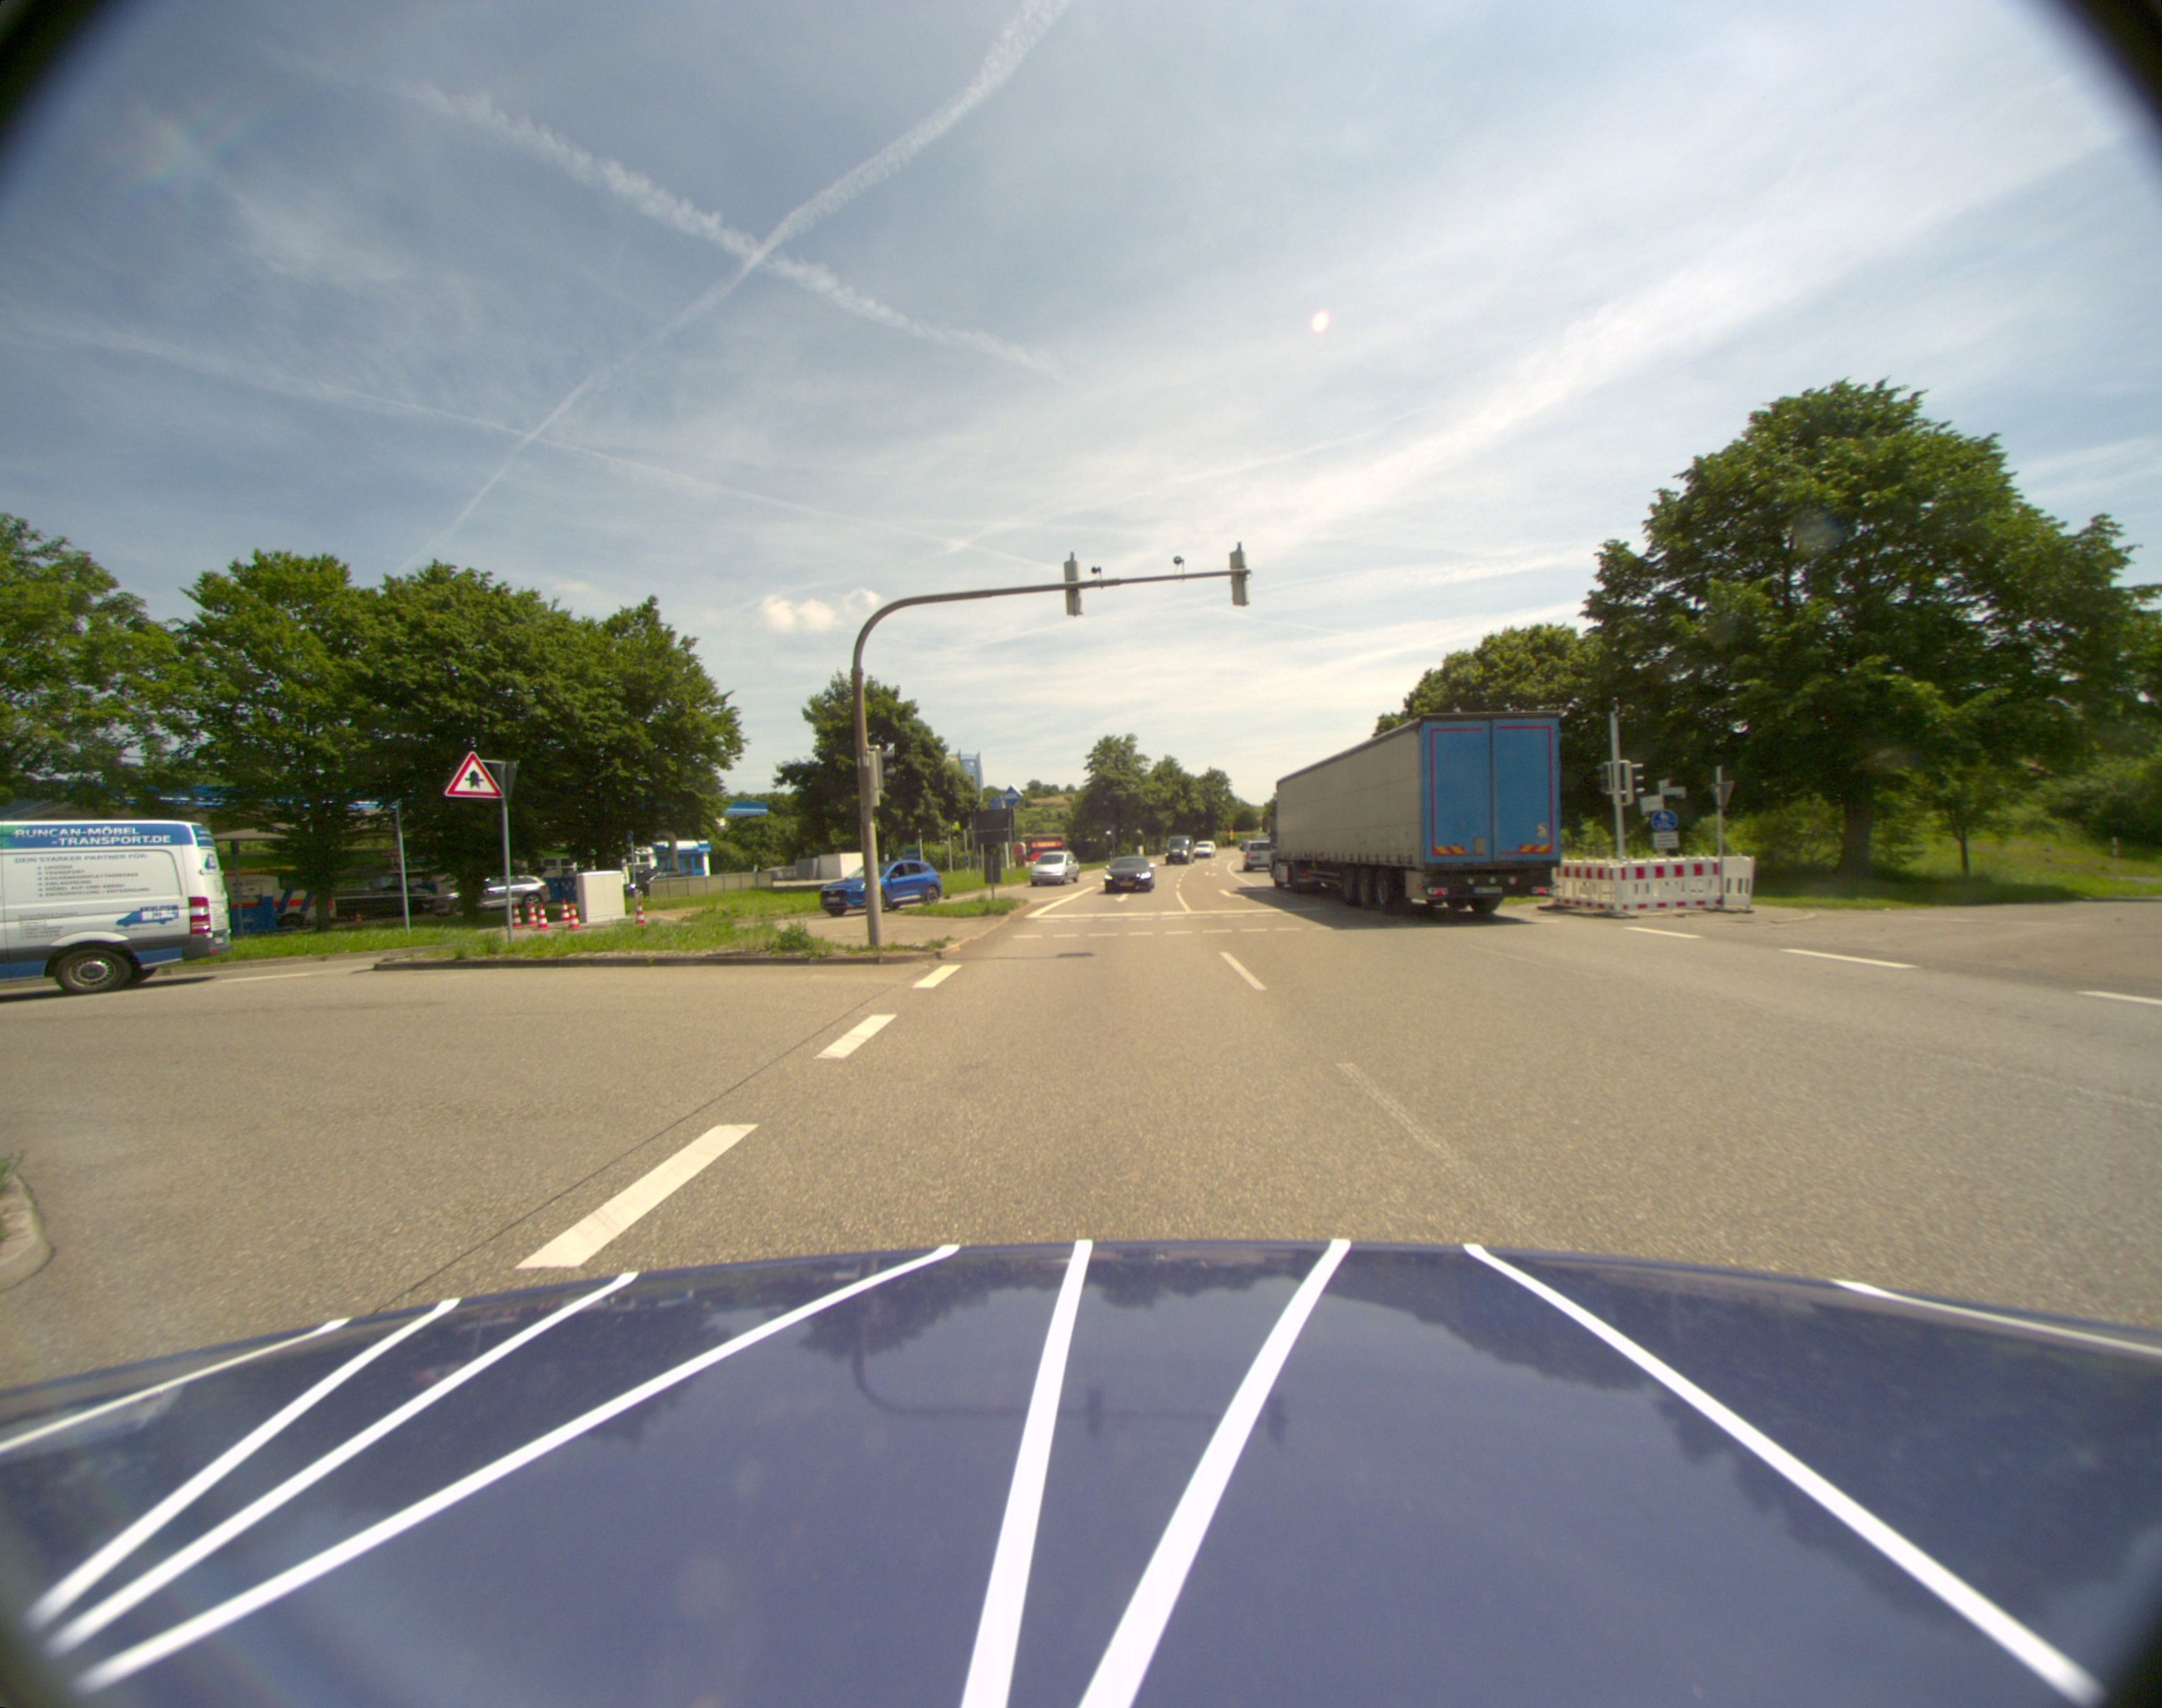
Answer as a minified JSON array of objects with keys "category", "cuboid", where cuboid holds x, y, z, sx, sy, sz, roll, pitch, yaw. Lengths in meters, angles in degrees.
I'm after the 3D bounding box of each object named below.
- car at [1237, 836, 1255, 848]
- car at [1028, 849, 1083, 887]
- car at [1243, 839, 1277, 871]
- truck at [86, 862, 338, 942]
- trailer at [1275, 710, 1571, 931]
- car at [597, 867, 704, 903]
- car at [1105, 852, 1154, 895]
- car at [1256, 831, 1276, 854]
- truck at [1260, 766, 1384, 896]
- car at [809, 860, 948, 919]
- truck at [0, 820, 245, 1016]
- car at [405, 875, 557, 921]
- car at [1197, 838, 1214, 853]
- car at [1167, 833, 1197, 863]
[{"category":"car","cuboid":[24.814,-1.783,114.189,1.806,1.722,4.006,-2,0,24]},{"category":"car","cuboid":[-1.253,0.676,39.678,1.864,1.682,4.529,-2,2,11]},{"category":"car","cuboid":[11.271,0.009,48.087,1.874,1.875,4.955,-1,1,10]},{"category":"truck","cuboid":[-34.366,1.794,30.349,2.257,2.603,6.159,-2,1,30]},{"category":"trailer","cuboid":[8.014,-0.700,20.754,2.572,4.007,13.595,-1,1,3]},{"category":"car","cuboid":[-23.330,1.642,41.359,1.995,1.612,4.637,-1,2,31]},{"category":"car","cuboid":[1.898,0.732,30.603,1.783,1.484,4.158,-2,1,3]},{"category":"car","cuboid":[19.845,-1.217,81.406,2.054,2.438,5.274,-1,1,14]},{"category":"truck","cuboid":[8.370,-0.763,27.210,2.572,4.007,6.560,-1,1,3]},{"category":"car","cuboid":[-6.400,1.093,24.554,1.780,1.549,4.395,-2,1,27]},{"category":"truck","cuboid":[-16.489,0.980,10.784,5.954,2.721,2.068,-3,-1,-43]},{"category":"car","cuboid":[-27.154,1.918,34.608,2.033,1.594,4.948,-1,2,31]},{"category":"car","cuboid":[13.752,-0.941,84.135,1.782,1.484,4.159,-2,2,8]},{"category":"car","cuboid":[9.034,-0.593,67.679,1.978,2.505,4.161,-2,2,15]}]
